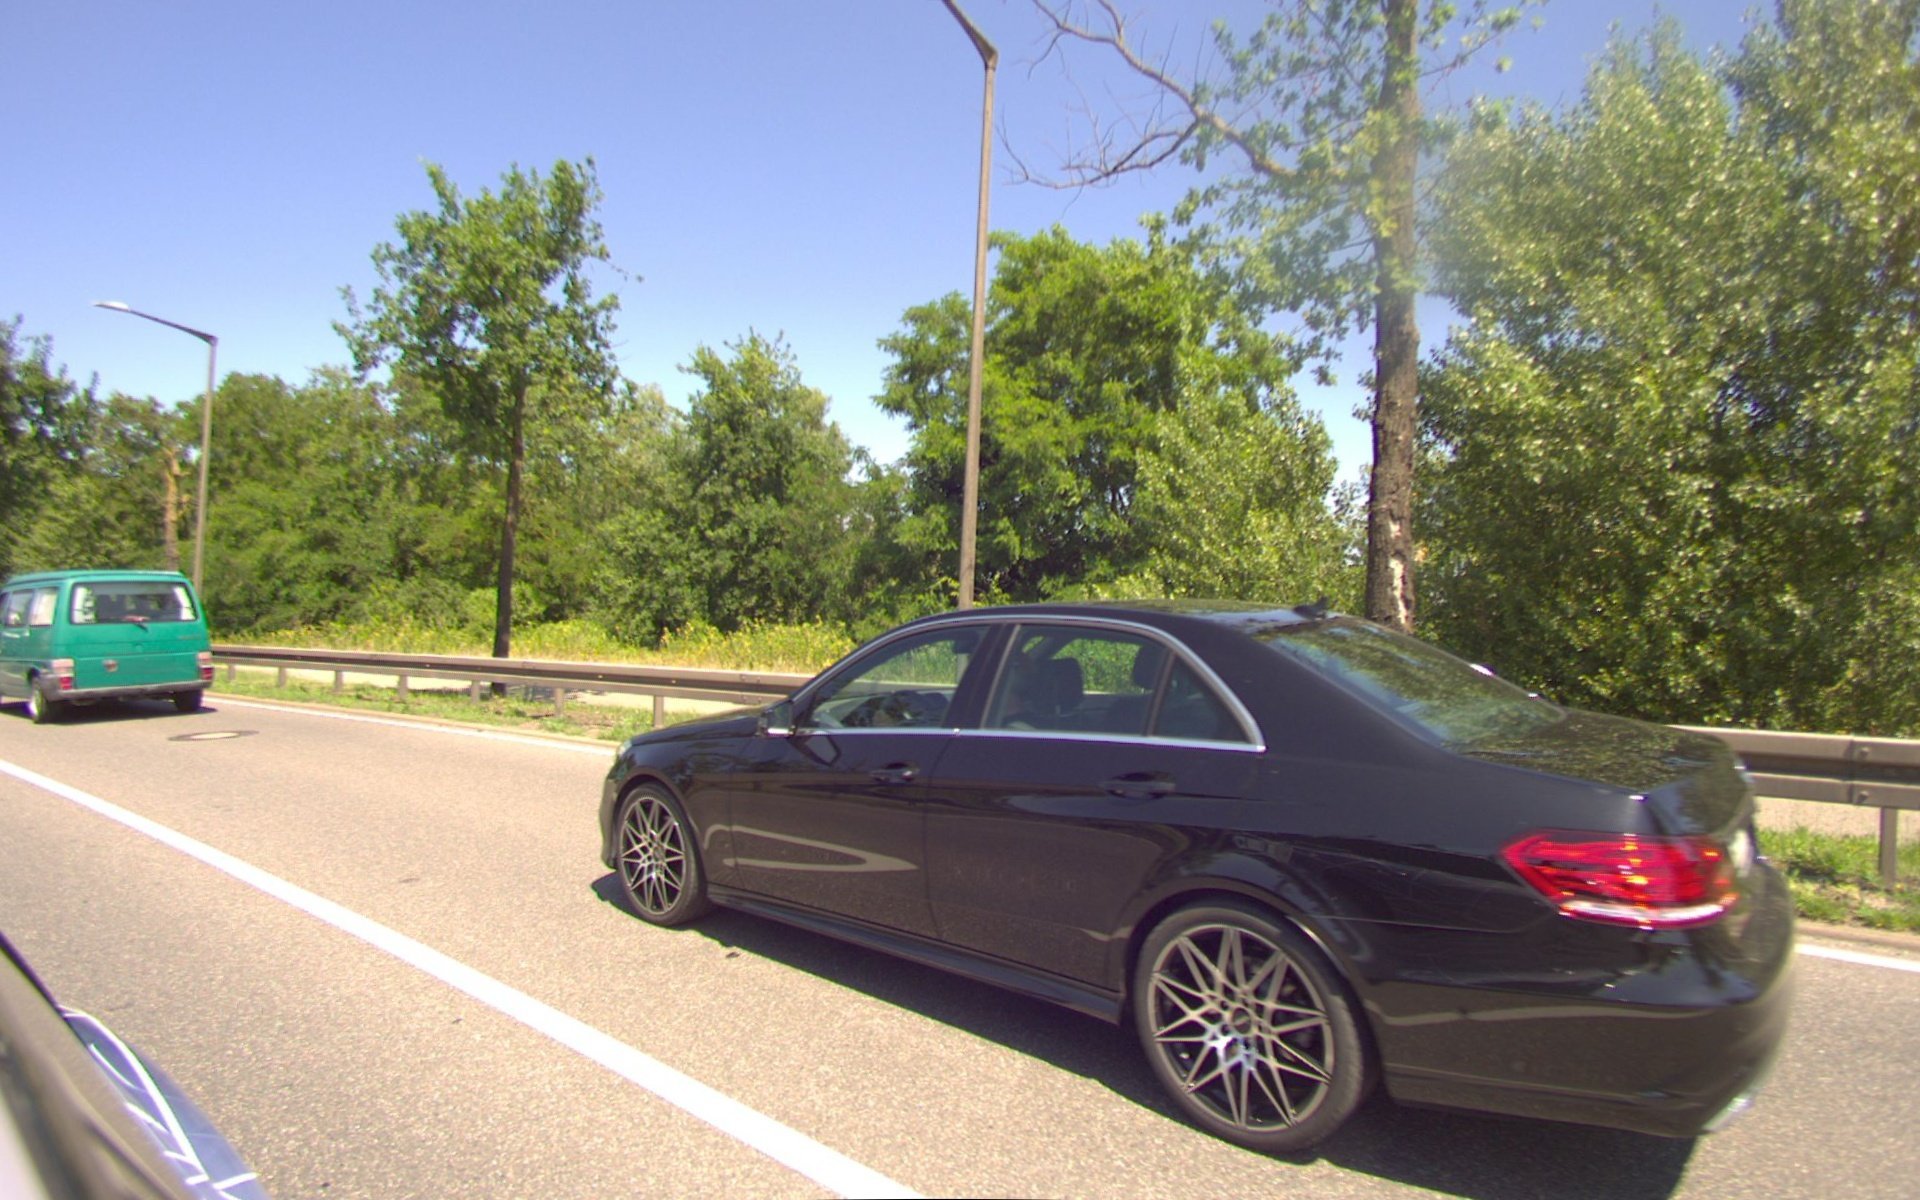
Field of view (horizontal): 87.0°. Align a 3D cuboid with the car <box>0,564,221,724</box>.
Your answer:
[{"bbox_3d":[-12.623,0.565,14.534,4.764,1.953,1.814,-1,0,35],"label":"car"}]

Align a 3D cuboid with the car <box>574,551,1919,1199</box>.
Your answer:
[{"bbox_3d":[0.547,0.672,3.911,4.739,1.478,1.827,-1,0,42],"label":"car"}]
